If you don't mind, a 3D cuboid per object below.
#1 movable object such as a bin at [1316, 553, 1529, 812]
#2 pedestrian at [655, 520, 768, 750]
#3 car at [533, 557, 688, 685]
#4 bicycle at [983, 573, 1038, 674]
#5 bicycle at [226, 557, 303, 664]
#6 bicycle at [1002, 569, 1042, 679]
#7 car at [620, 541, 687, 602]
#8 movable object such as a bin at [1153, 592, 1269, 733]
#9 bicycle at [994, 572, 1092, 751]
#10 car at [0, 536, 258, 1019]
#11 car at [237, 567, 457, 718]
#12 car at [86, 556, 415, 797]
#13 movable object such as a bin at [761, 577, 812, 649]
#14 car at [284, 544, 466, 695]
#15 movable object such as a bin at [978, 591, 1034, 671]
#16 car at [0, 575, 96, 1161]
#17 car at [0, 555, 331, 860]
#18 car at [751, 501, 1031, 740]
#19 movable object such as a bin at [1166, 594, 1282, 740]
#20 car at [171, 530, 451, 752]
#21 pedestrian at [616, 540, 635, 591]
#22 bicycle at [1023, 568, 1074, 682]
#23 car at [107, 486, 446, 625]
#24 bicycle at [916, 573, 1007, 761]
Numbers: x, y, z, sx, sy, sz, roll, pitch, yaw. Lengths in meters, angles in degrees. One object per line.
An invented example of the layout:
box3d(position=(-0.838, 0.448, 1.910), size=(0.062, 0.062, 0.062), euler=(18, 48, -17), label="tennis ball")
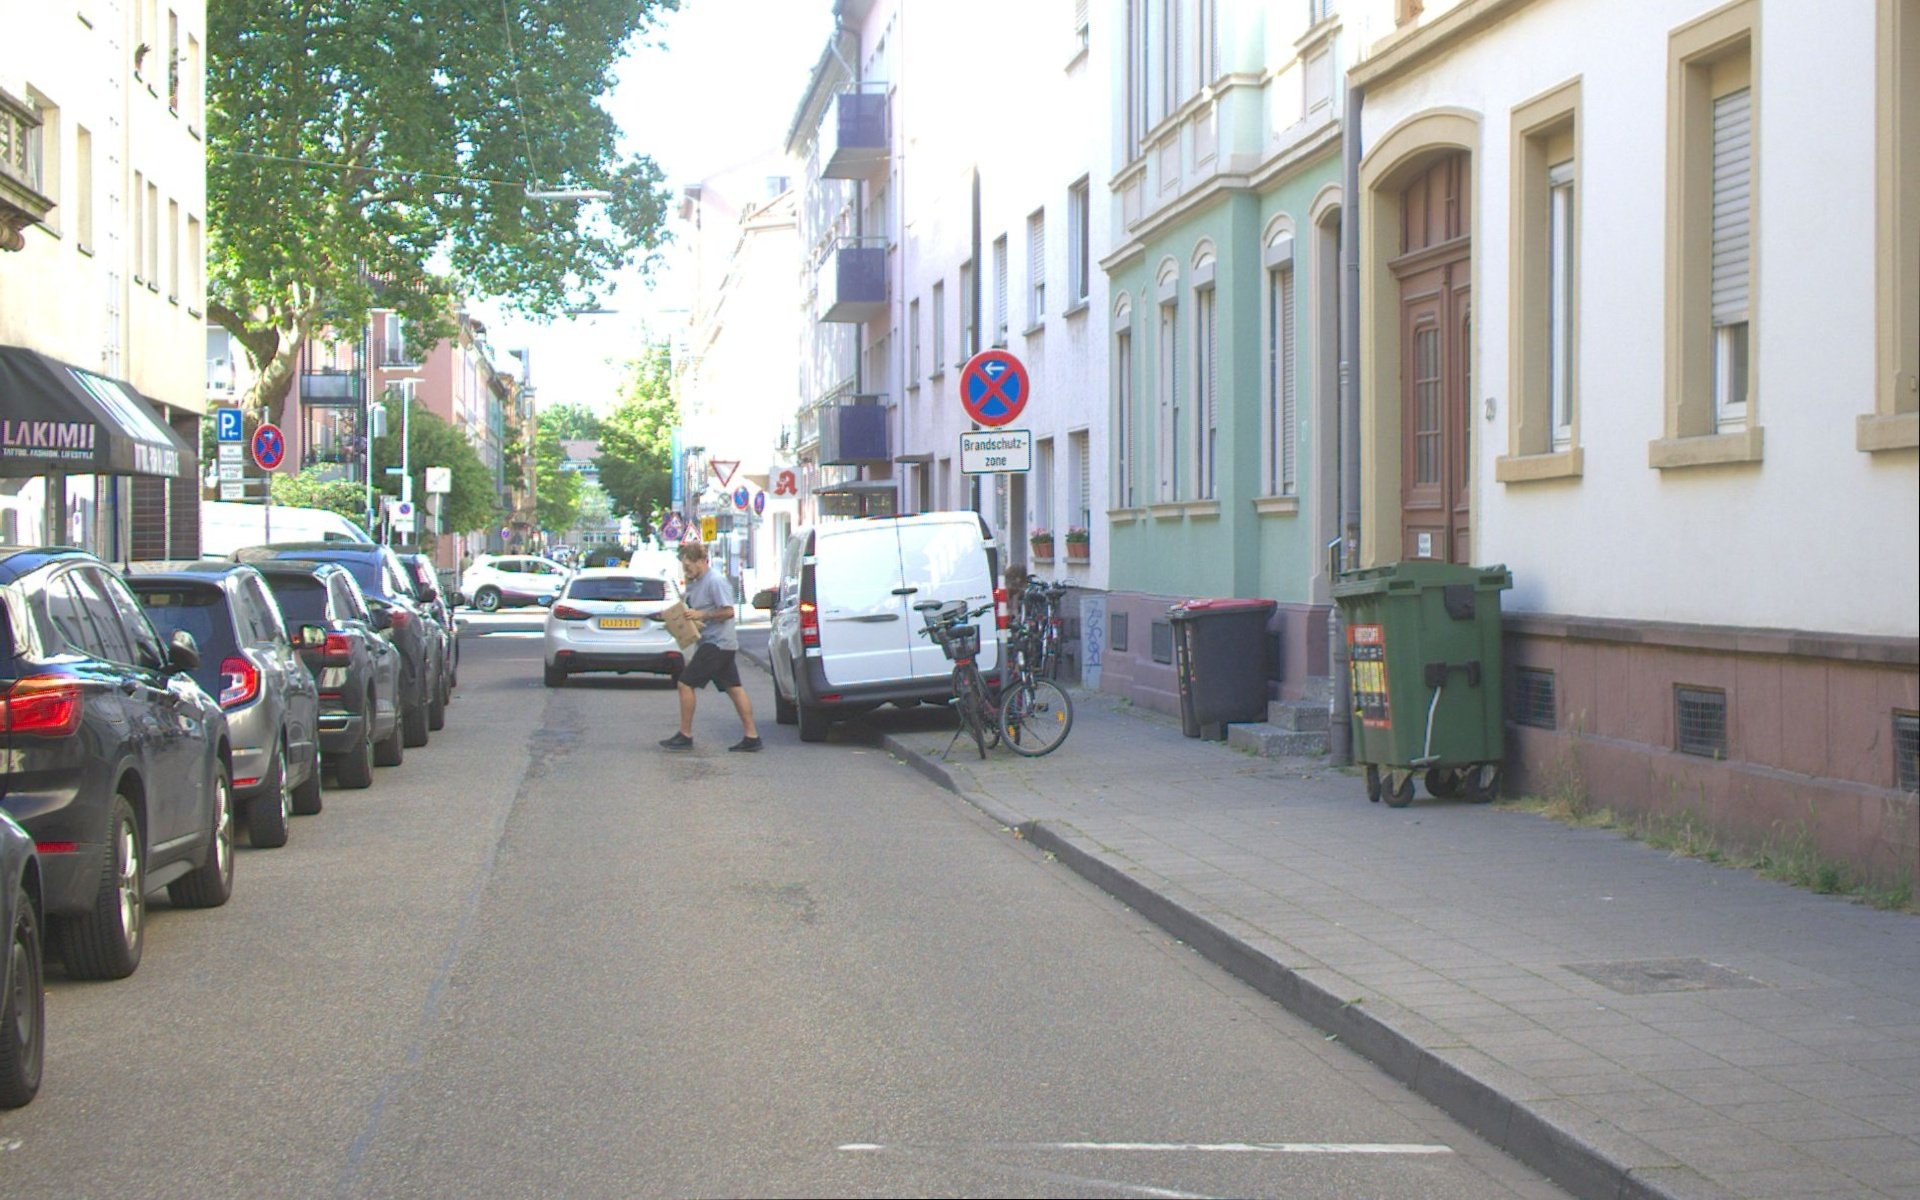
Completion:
box3d(position=(2.606, 0.463, 19.504), size=(0.837, 1.385, 1.297), euler=(-3, -1, -7), label="movable object such as a bin")
box3d(position=(-2.020, 0.278, 27.840), size=(0.865, 1.830, 0.884), euler=(0, 0, -7), label="pedestrian")
box3d(position=(-4.357, 0.220, 42.675), size=(1.823, 1.509, 3.824), euler=(0, 1, -7), label="car")
box3d(position=(0.577, 0.267, 39.926), size=(0.568, 1.149, 1.868), euler=(0, 0, -1), label="bicycle")
box3d(position=(-9.027, 0.145, 44.675), size=(0.465, 1.327, 1.854), euler=(4, -1, 2), label="bicycle")
box3d(position=(0.700, 0.260, 38.844), size=(0.438, 1.202, 2.266), euler=(0, 0, 1), label="bicycle")
box3d(position=(-10.158, -0.953, 113.830), size=(1.942, 1.941, 4.079), euler=(1, 1, -8), label="car")
box3d(position=(1.951, 0.479, 26.742), size=(0.812, 1.084, 0.674), euler=(0, 0, -4), label="movable object such as a bin")
box3d(position=(0.617, 0.437, 26.087), size=(0.575, 1.266, 2.199), euler=(-2, 1, -2), label="bicycle")
box3d(position=(-3.990, 0.571, 13.823), size=(1.744, 1.609, 4.604), euler=(-1, 1, -5), label="car")
box3d(position=(-6.265, 0.401, 35.588), size=(1.845, 1.412, 4.819), euler=(-2, 0, -6), label="car")
box3d(position=(-4.919, 0.462, 24.346), size=(1.713, 1.526, 4.367), euler=(-1, 1, -4), label="car")
box3d(position=(-2.597, 0.192, 51.489), size=(0.732, 1.077, 0.703), euler=(0, 0, -5), label="movable object such as a bin")
box3d(position=(-6.901, 0.182, 40.933), size=(1.782, 1.661, 4.671), euler=(-1, 1, -6), label="car")
box3d(position=(0.548, 0.363, 41.199), size=(0.577, 0.921, 0.608), euler=(-2, 1, -6), label="movable object such as a bin")
box3d(position=(-3.251, 0.731, 8.007), size=(1.713, 1.483, 4.853), euler=(-3, 1, -6), label="car")
box3d(position=(-4.533, 0.523, 19.594), size=(1.615, 1.548, 3.979), euler=(0, 1, -7), label="car")
box3d(position=(-0.746, 0.122, 31.621), size=(1.983, 1.877, 5.601), euler=(-4, 1, -6), label="car")
box3d(position=(1.996, 0.500, 26.072), size=(0.797, 1.092, 0.642), euler=(0, 0, -4), label="movable object such as a bin")
box3d(position=(-5.524, 0.293, 29.832), size=(1.936, 1.730, 5.143), euler=(-1, 1, -6), label="car")
box3d(position=(-13.978, -1.430, 143.596), size=(0.771, 2.111, 0.835), euler=(0, 0, -5), label="pedestrian")
box3d(position=(0.957, 0.263, 37.526), size=(0.405, 1.202, 2.159), euler=(0, 0, -3), label="bicycle")
box3d(position=(-14.494, -0.927, 73.250), size=(6.738, 2.546, 2.146), euler=(3, 0, -4), label="car")
box3d(position=(0.000, 0.472, 25.705), size=(0.575, 1.316, 2.199), euler=(-1, 1, -2), label="bicycle")
